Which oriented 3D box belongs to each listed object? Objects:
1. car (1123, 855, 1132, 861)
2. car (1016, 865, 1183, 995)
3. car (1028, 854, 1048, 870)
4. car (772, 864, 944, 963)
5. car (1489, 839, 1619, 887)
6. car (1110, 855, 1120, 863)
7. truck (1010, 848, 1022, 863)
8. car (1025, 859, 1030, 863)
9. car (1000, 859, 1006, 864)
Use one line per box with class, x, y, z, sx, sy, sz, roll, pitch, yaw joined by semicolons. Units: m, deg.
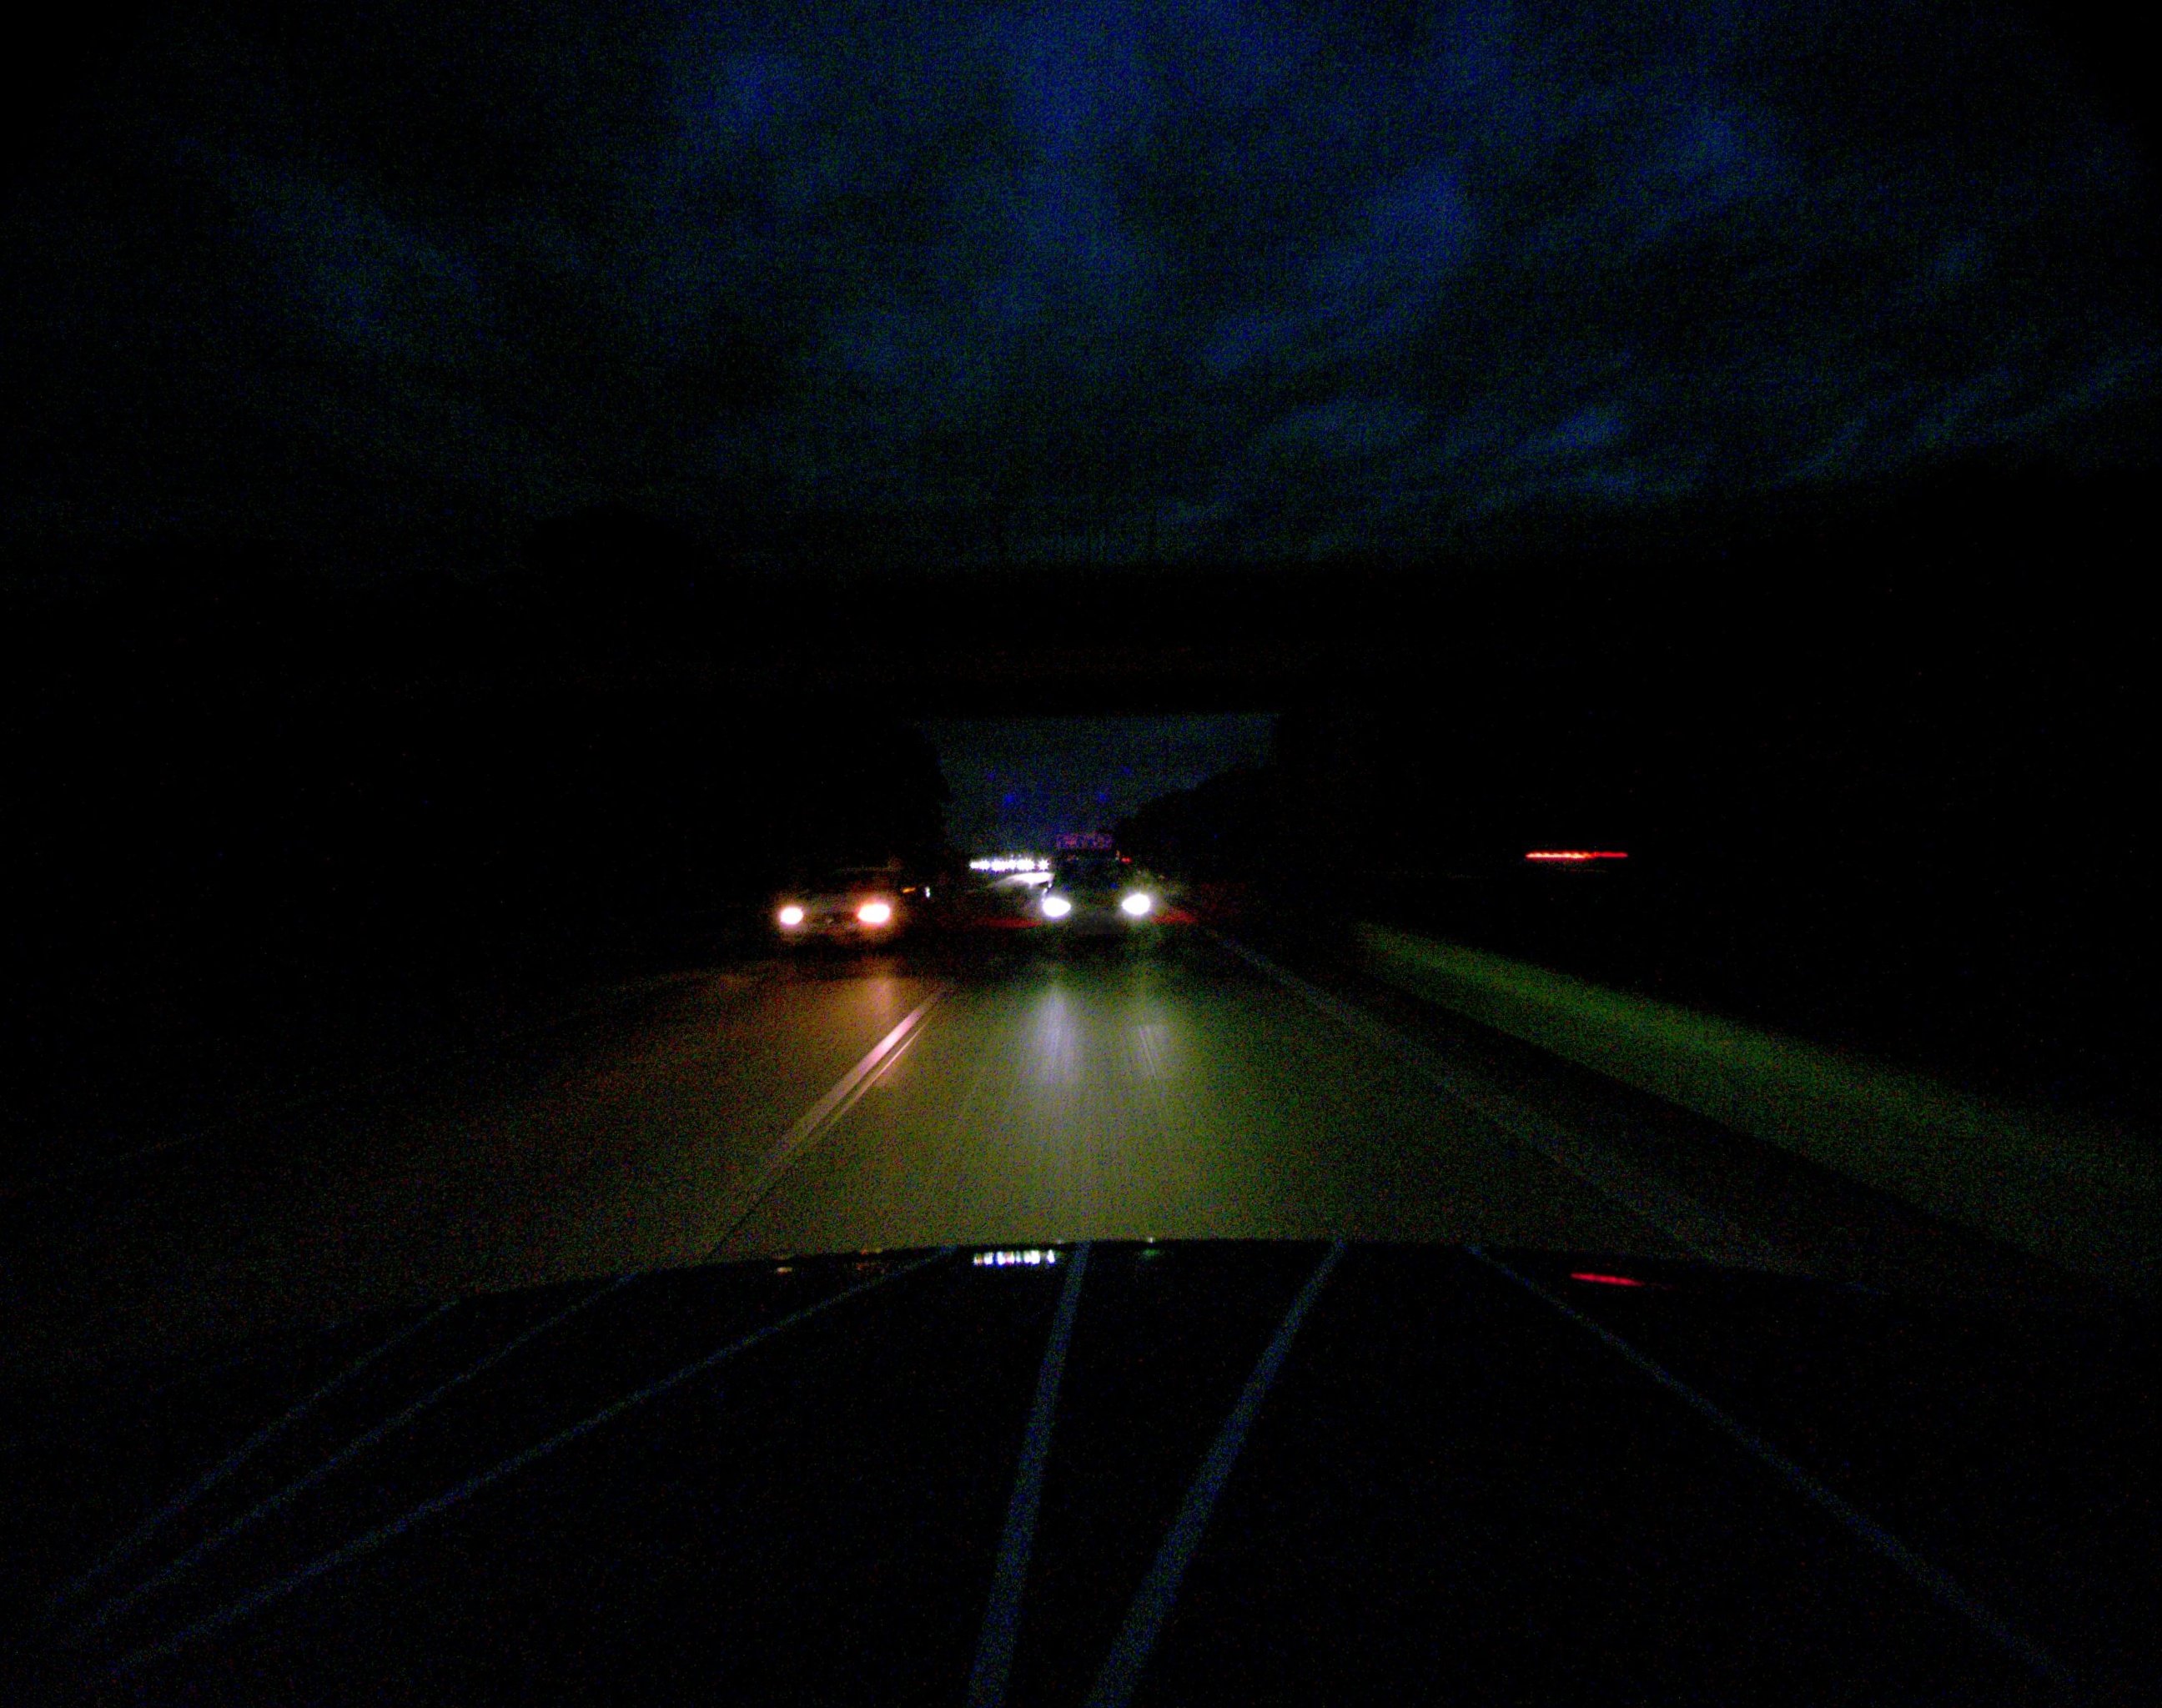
car;13.087;1.159;214.150;1.820;1.372;4.906;-2;0;-4
car;0.212;0.903;10.935;1.880;1.435;4.451;-2;-1;0
car;-4.540;0.862;80.456;1.999;1.539;4.000;-2;-1;-2
car;-4.075;0.997;14.886;1.813;1.457;5.131;-2;0;0
car;16.729;0.324;27.179;1.815;1.511;4.430;-2;-1;-1
car;7.136;1.059;160.223;1.880;1.435;4.450;-2;-1;-2
truck;-18.189;0.493;213.317;3.146;3.987;10.541;-2;-1;-5
car;-17.131;2.193;243.233;1.820;1.372;4.197;-2;0;-4
car;-24.435;2.435;238.408;1.820;1.372;4.042;-2;0;-4
